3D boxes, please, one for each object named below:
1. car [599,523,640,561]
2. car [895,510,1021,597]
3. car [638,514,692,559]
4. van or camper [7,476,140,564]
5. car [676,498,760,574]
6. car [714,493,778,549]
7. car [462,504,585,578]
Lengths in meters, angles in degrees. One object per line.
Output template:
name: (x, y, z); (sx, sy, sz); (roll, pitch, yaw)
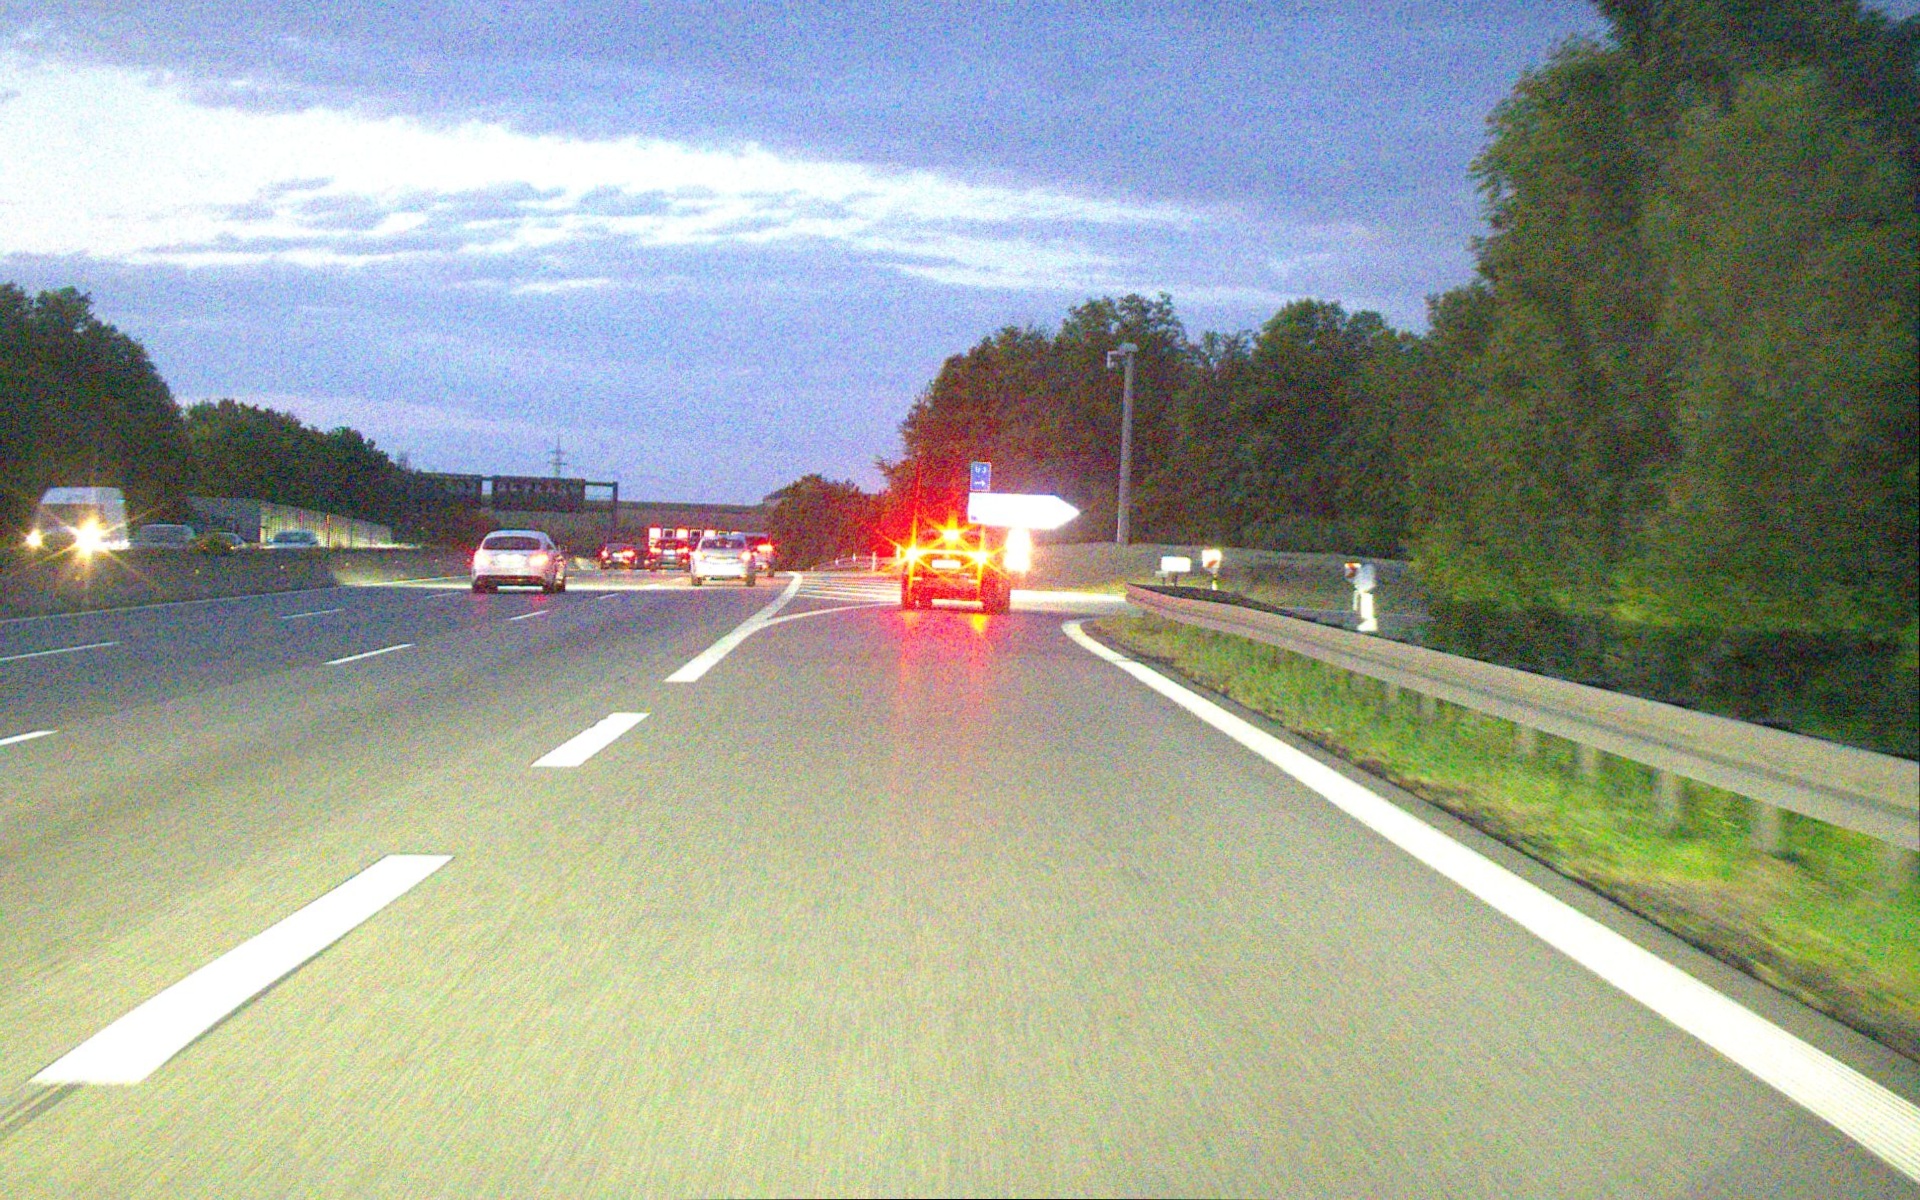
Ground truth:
car: (-18.435, -3.134, 186.052); (2.104, 2.007, 4.001); (-1, 1, -6)
car: (-0.001, -0.944, 68.515); (1.994, 1.653, 4.314); (1, 1, 7)
car: (-13.566, -2.929, 158.141); (2.071, 2.007, 4.000); (0, 1, 1)
van or camper: (-27.019, -2.423, 105.023); (2.516, 2.586, 6.490); (1, 1, -2)
car: (-6.612, -1.755, 94.304); (1.993, 2.007, 4.000); (1, 1, 0)
car: (-7.744, -2.881, 124.741); (1.993, 2.007, 4.000); (0, 1, 1)
car: (-10.002, -1.372, 79.049); (1.994, 1.637, 4.554); (0, 1, 3)
